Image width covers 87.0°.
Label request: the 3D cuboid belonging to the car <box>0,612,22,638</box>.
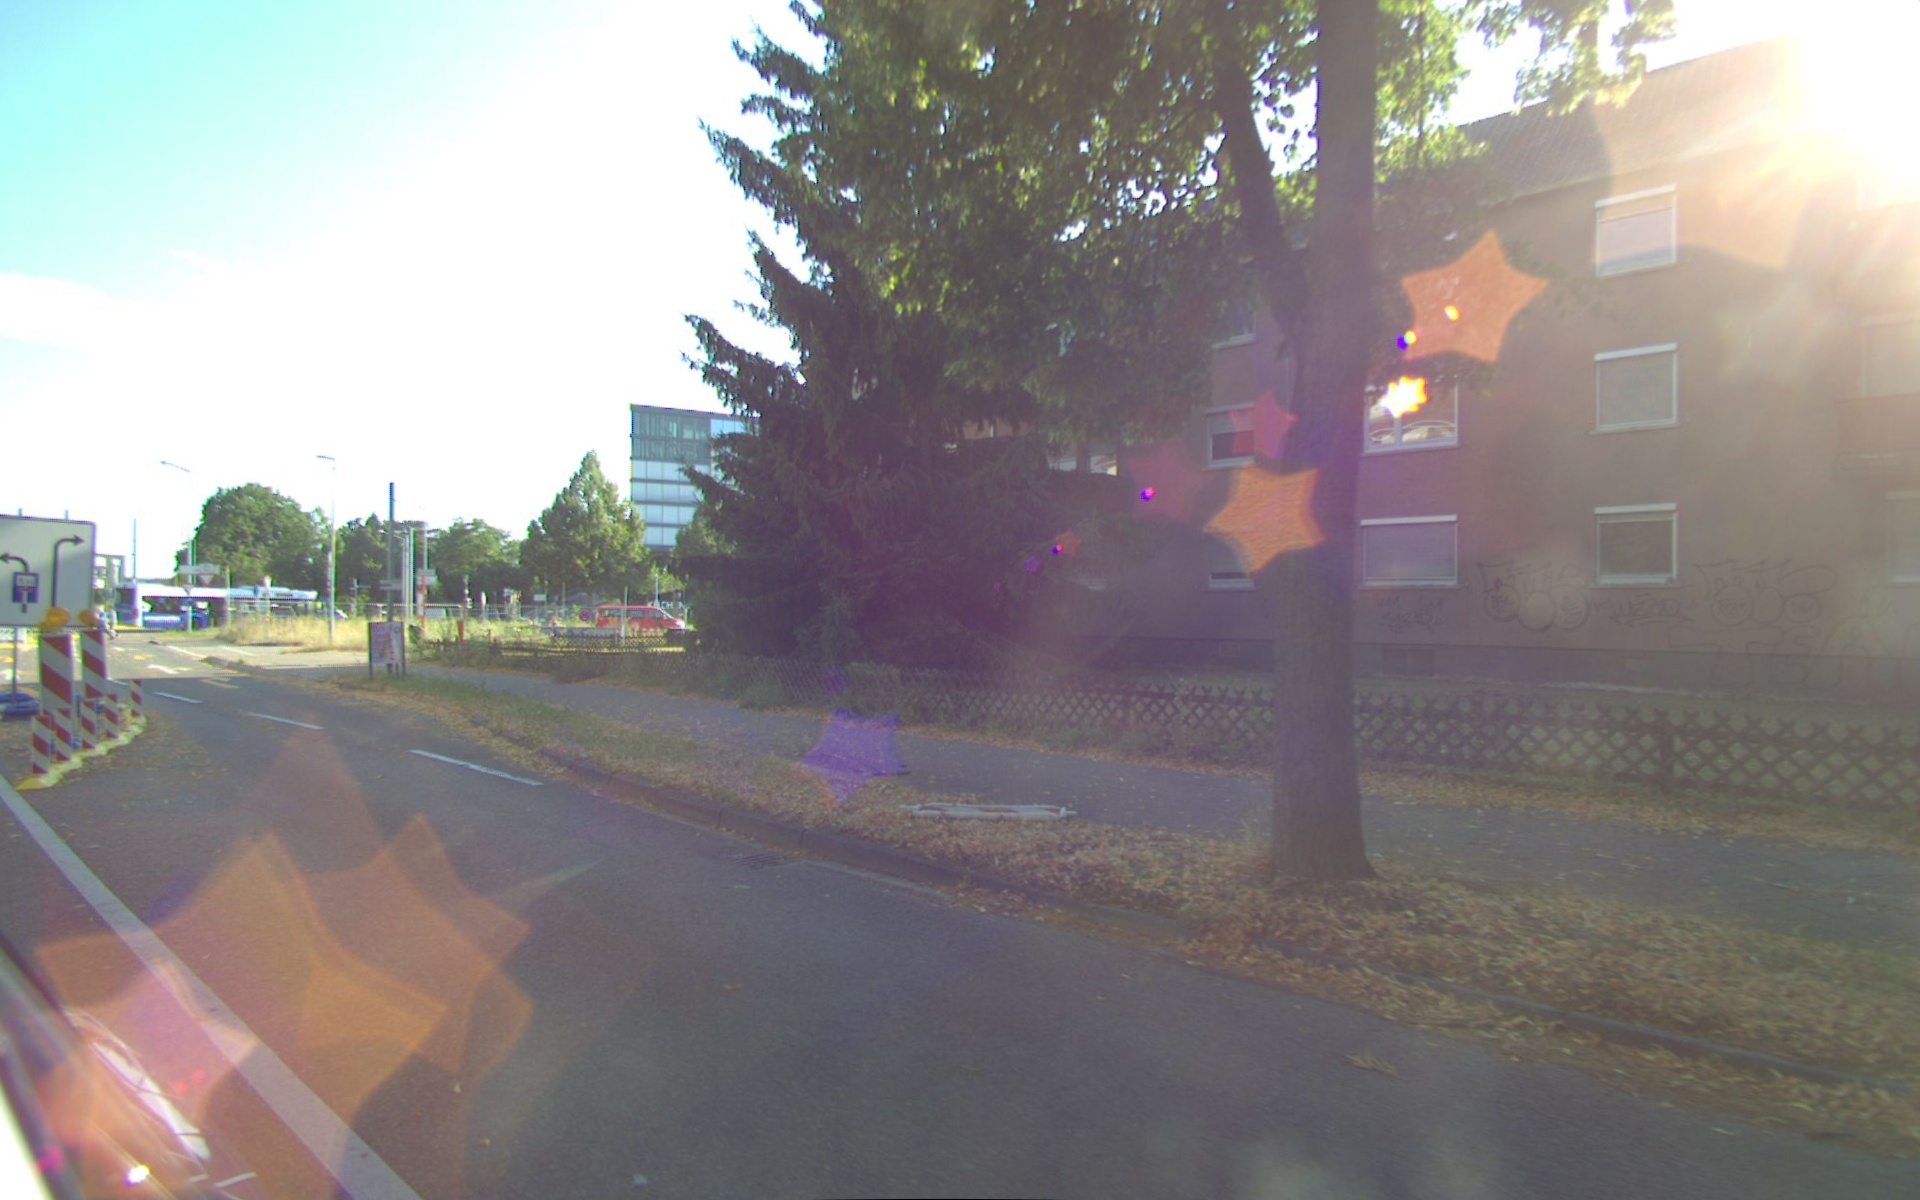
[{"bbox_3d":[-56.359,1.422,57.713,1.841,1.497,3.949,-1,-2,38],"label":"car"}]

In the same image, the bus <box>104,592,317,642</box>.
[{"bbox_3d":[-50.447,1.145,68.833,2.648,3.085,12.089,0,-1,22],"label":"bus"}]

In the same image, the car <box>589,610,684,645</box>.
[{"bbox_3d":[-19.290,1.633,60.562,5.227,2.029,2.004,1,-1,-10],"label":"car"}]
